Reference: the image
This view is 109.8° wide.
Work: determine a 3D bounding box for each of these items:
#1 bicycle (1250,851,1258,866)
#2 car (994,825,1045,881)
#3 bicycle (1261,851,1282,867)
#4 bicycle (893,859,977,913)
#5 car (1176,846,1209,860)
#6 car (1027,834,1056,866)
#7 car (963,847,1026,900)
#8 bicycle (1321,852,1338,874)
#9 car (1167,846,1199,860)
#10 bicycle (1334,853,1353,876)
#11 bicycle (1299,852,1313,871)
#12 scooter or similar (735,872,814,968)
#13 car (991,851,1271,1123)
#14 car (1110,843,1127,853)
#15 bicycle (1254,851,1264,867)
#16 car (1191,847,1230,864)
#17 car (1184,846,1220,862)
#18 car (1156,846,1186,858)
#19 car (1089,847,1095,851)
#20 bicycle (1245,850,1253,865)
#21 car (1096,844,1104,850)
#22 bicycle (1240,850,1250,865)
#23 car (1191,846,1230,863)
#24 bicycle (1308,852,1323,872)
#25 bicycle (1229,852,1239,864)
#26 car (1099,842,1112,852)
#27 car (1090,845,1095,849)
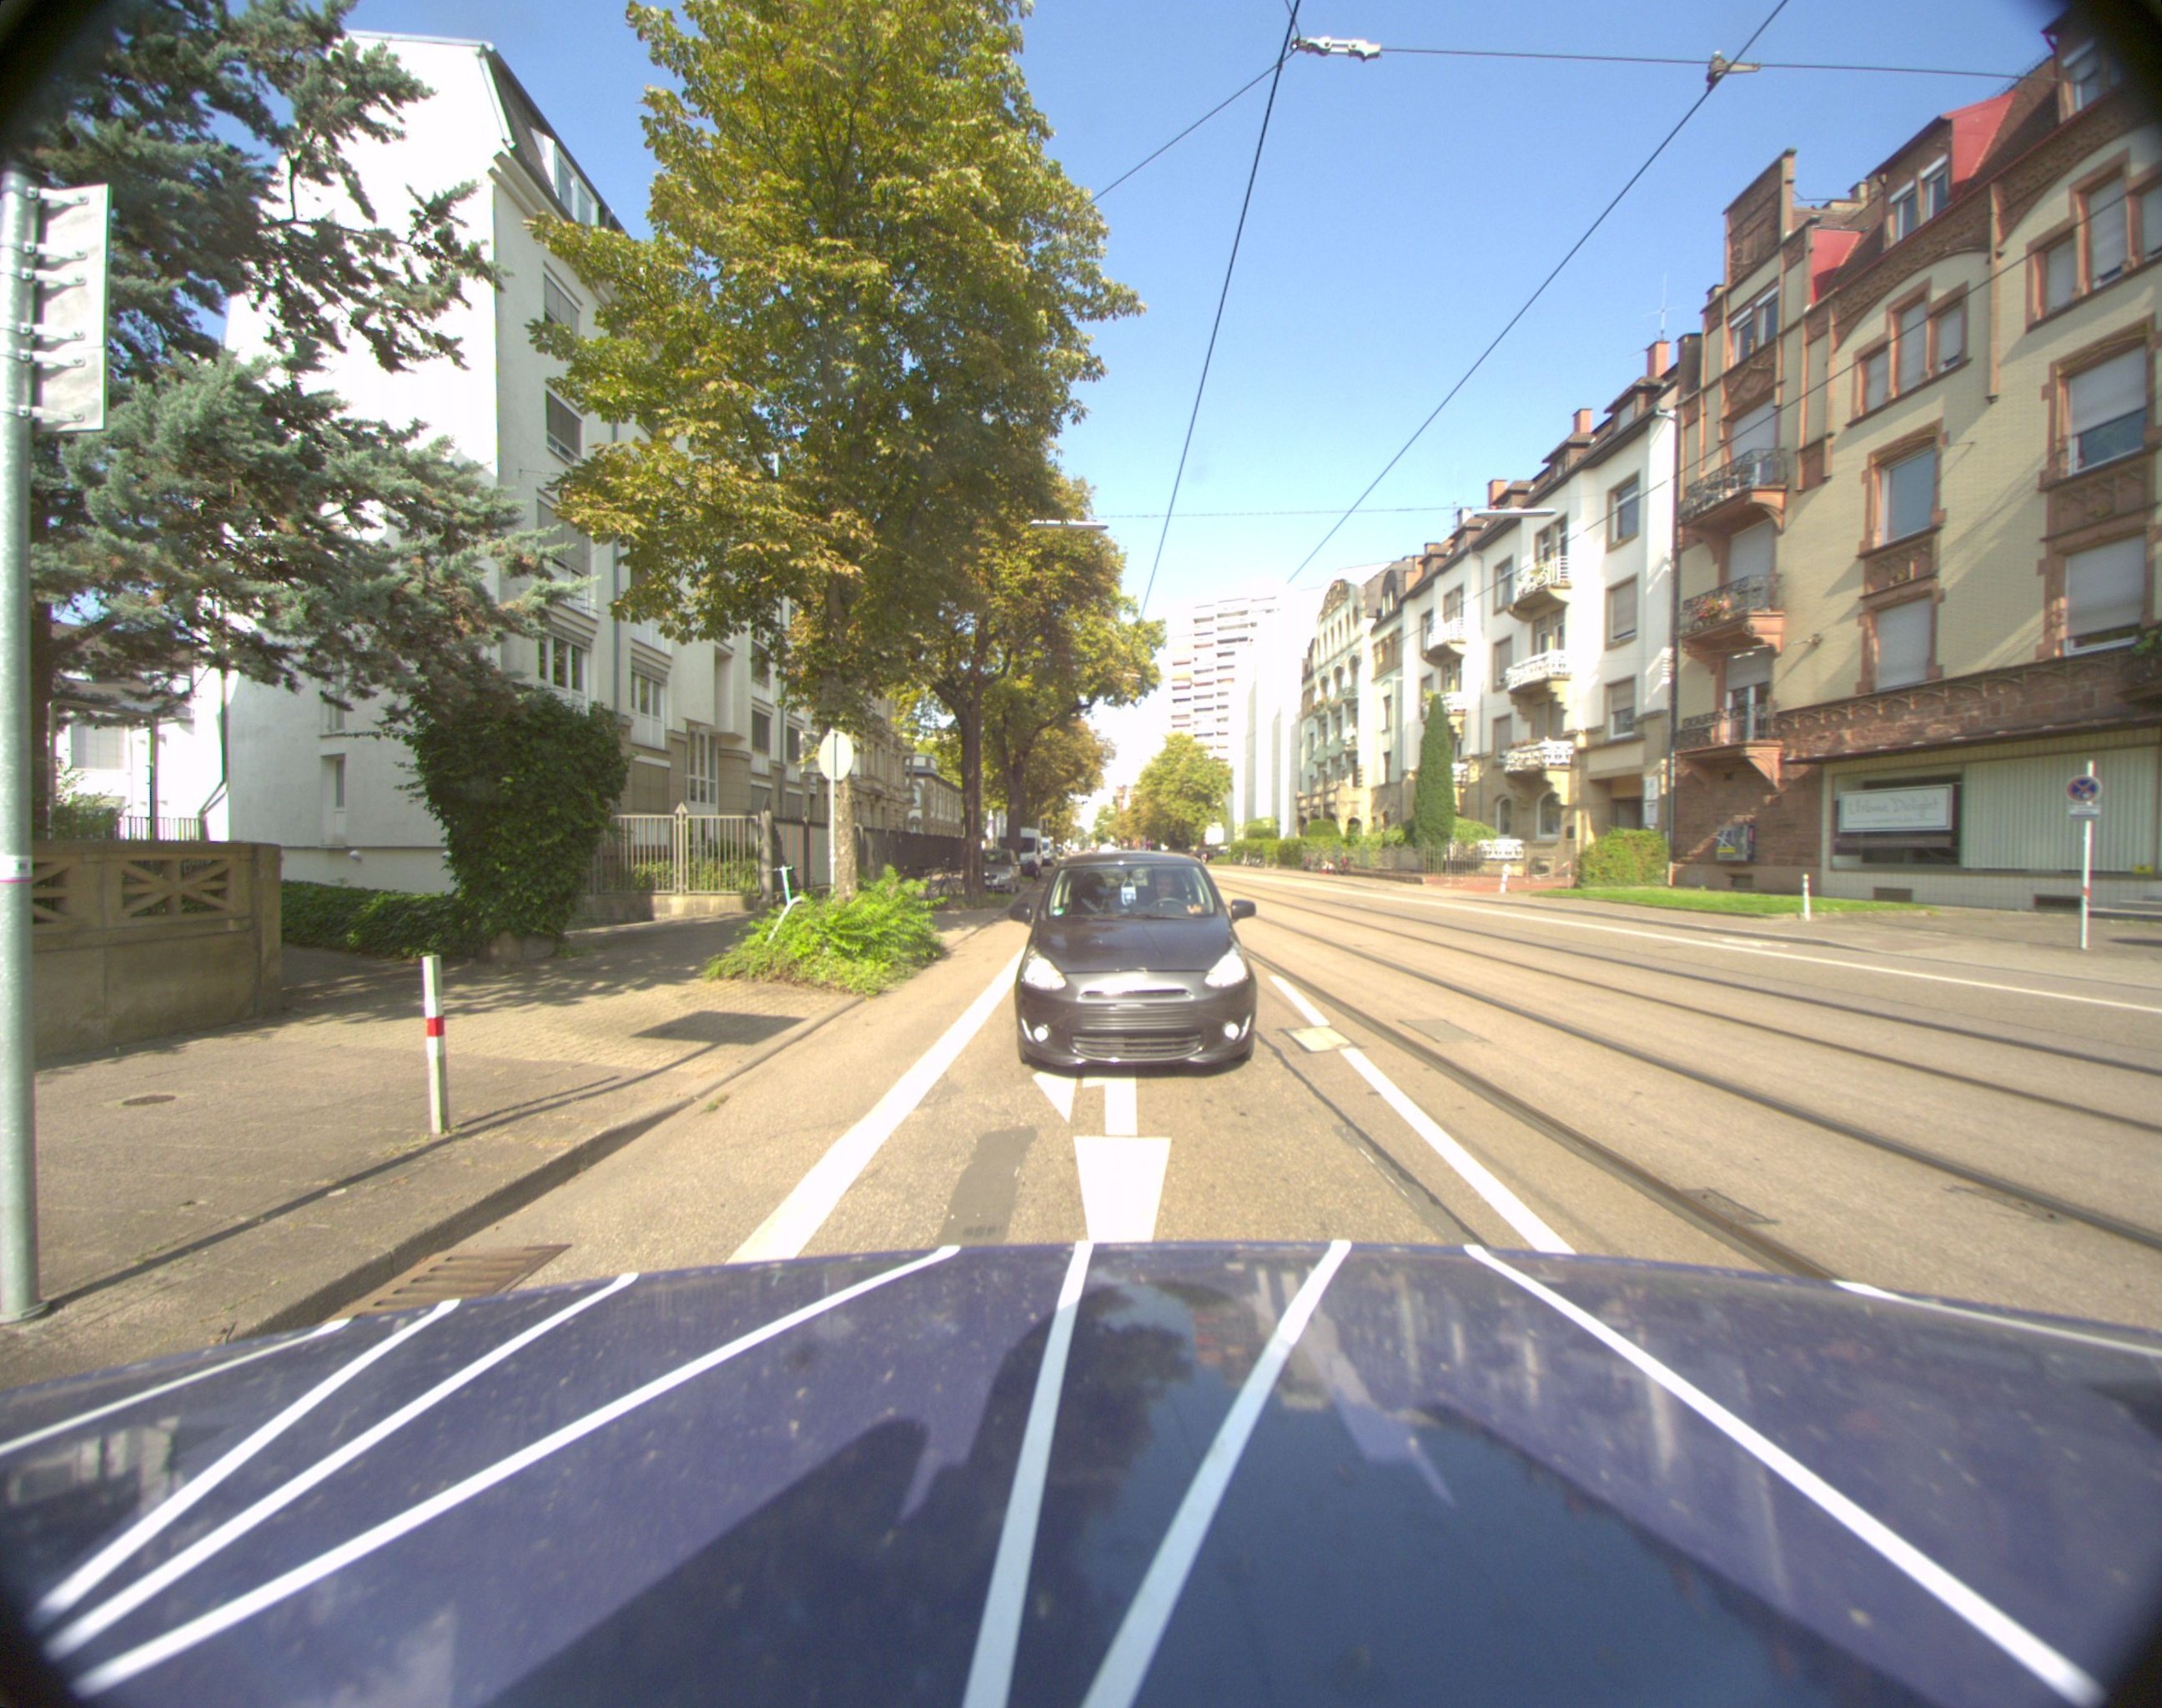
[{"bbox_3d":[12.585,0.299,55.349,0.425,1.081,1.677,0,1,8],"label":"bicycle"},{"bbox_3d":[-2.902,-0.087,37.133,2.051,2.484,6.227,1,1,-1],"label":"car"},{"bbox_3d":[13.090,0.319,52.253,1.397,1.081,0.425,0,1,-18],"label":"bicycle"},{"bbox_3d":[-3.384,0.733,17.715,1.846,1.160,0.503,2,5,-41],"label":"bicycle"},{"bbox_3d":[12.358,-0.076,84.367,1.767,1.518,4.008,1,1,41],"label":"car"},{"bbox_3d":[-3.270,-0.327,64.105,1.998,2.526,5.866,2,1,0],"label":"car"},{"bbox_3d":[-2.802,0.575,25.408,1.611,1.515,4.356,3,1,-1],"label":"car"},{"bbox_3d":[12.642,0.465,38.712,0.371,1.081,1.354,0,1,-1],"label":"bicycle"},{"bbox_3d":[11.755,-0.136,87.213,1.767,1.518,4.008,1,1,41],"label":"car"},{"bbox_3d":[12.750,0.493,36.939,0.371,1.081,1.487,0,1,-1],"label":"bicycle"},{"bbox_3d":[12.810,0.418,43.242,0.371,1.081,1.354,0,1,-1],"label":"bicycle"},{"bbox_3d":[-4.215,0.880,10.515,0.559,1.190,1.034,3,2,5],"label":"scooter or similar"},{"bbox_3d":[0.274,0.773,6.636,1.611,1.515,4.356,-1,1,-1],"label":"car"},{"bbox_3d":[5.465,-0.869,112.034,1.877,1.446,4.543,3,1,-4],"label":"car"},{"bbox_3d":[12.459,0.337,53.252,0.425,1.081,1.677,0,1,4],"label":"bicycle"},{"bbox_3d":[11.977,0.113,70.269,1.767,1.518,4.008,1,1,41],"label":"car"},{"bbox_3d":[12.251,0.003,76.902,1.767,1.518,4.008,1,1,41],"label":"car"},{"bbox_3d":[11.413,-0.271,96.057,1.767,1.518,4.008,1,1,41],"label":"car"},{"bbox_3d":[3.588,-1.795,252.734,1.757,1.349,3.787,0,1,-2],"label":"car"},{"bbox_3d":[12.425,0.278,56.157,0.425,1.081,1.677,0,1,8],"label":"bicycle"},{"bbox_3d":[4.973,-1.866,196.232,1.701,1.395,4.644,-1,1,-2],"label":"car"},{"bbox_3d":[12.524,0.252,58.168,0.425,1.081,1.676,0,1,2],"label":"bicycle"},{"bbox_3d":[12.631,0.033,74.063,4.008,1.518,1.767,0,1,-45],"label":"car"},{"bbox_3d":[12.779,0.429,41.472,0.371,1.081,1.354,0,1,-1],"label":"bicycle"},{"bbox_3d":[12.367,0.308,61.501,0.425,0.972,1.769,0,1,-2],"label":"bicycle"},{"bbox_3d":[4.665,-1.324,144.005,1.999,2.002,4.857,0,1,-4],"label":"car"},{"bbox_3d":[3.666,-2.232,240.175,1.757,1.349,3.787,0,1,1],"label":"car"}]
